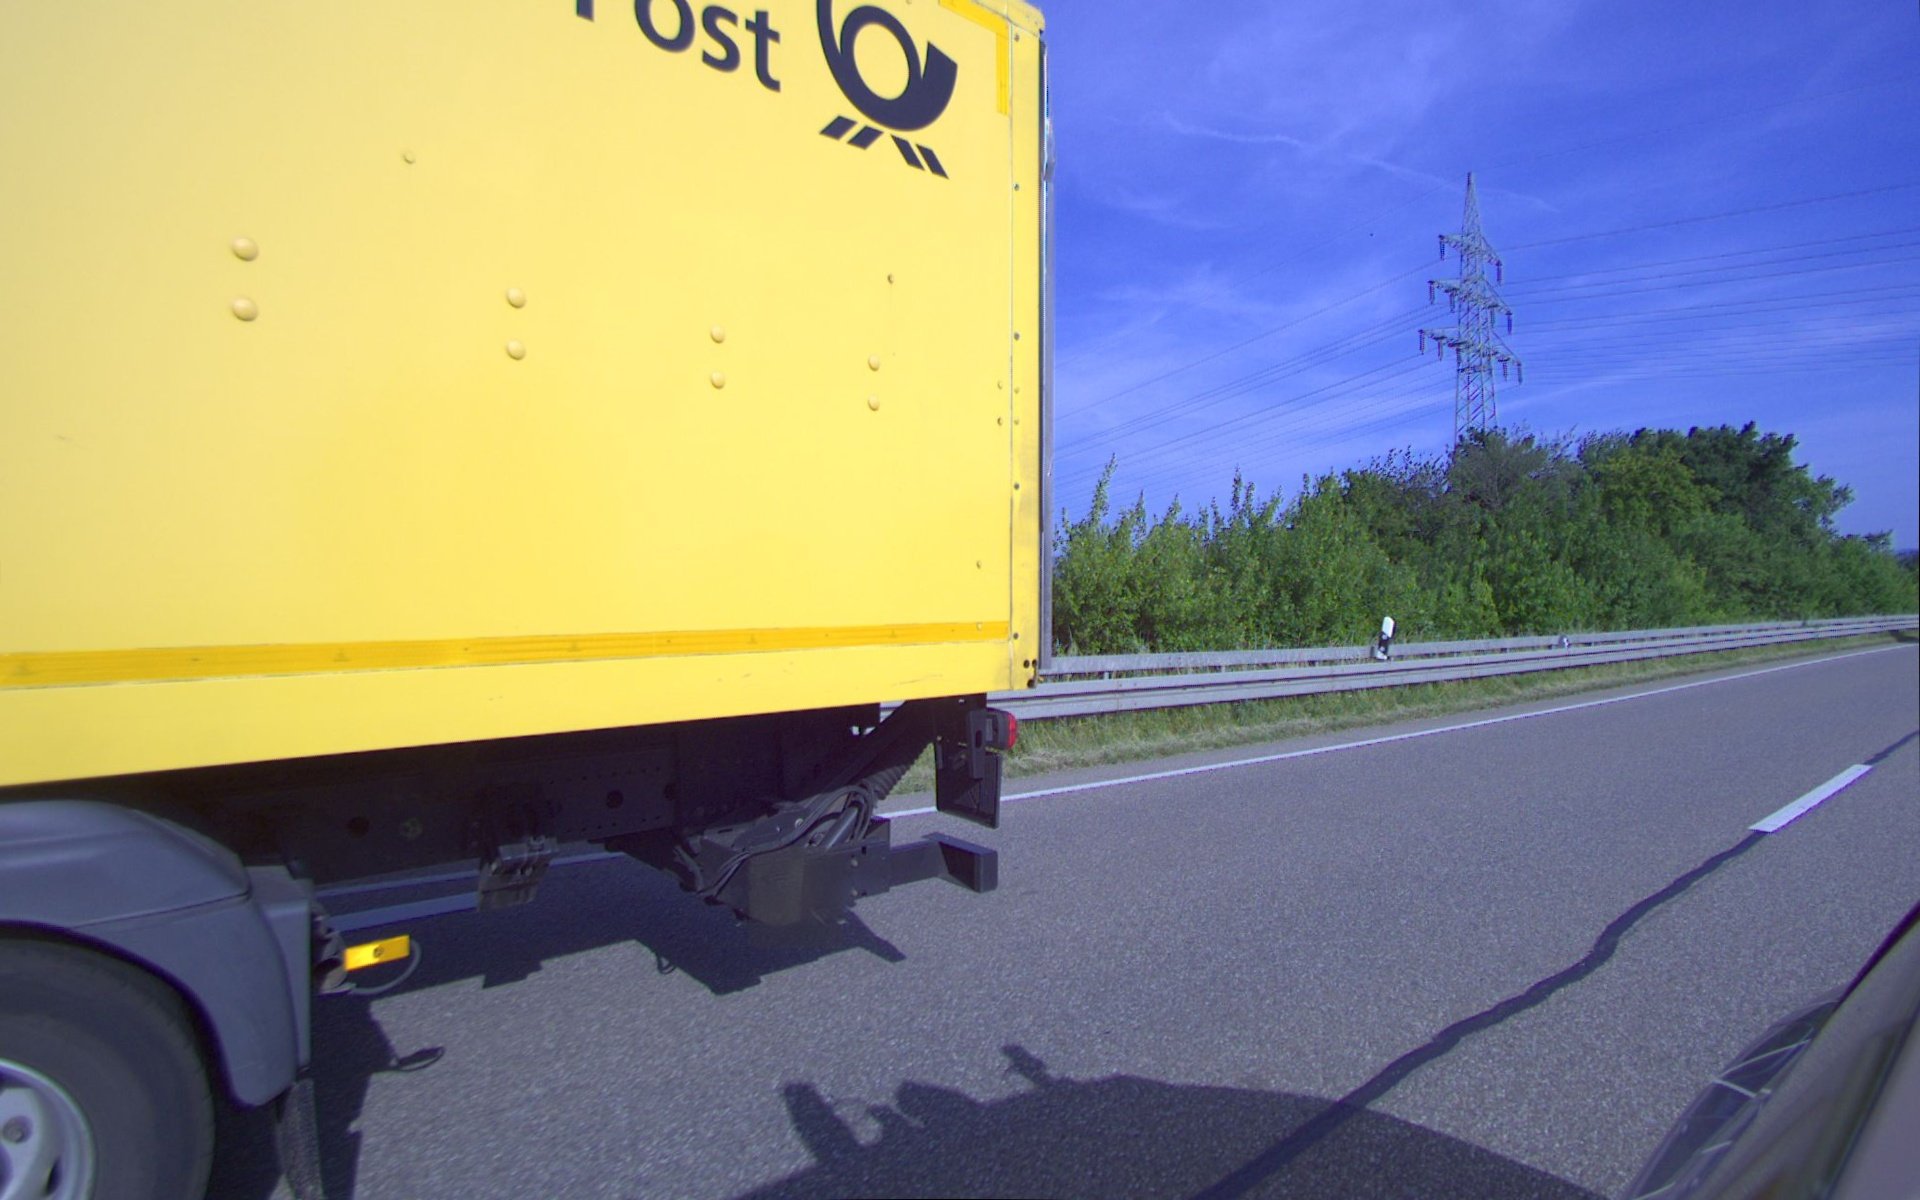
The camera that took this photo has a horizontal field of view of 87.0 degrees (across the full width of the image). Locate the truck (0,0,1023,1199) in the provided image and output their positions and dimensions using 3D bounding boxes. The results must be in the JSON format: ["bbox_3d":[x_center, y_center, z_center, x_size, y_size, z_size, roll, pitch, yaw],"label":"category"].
[{"bbox_3d":[-4.574,-0.329,0.768,10.307,3.359,2.783,0,0,-42],"label":"truck"}]
